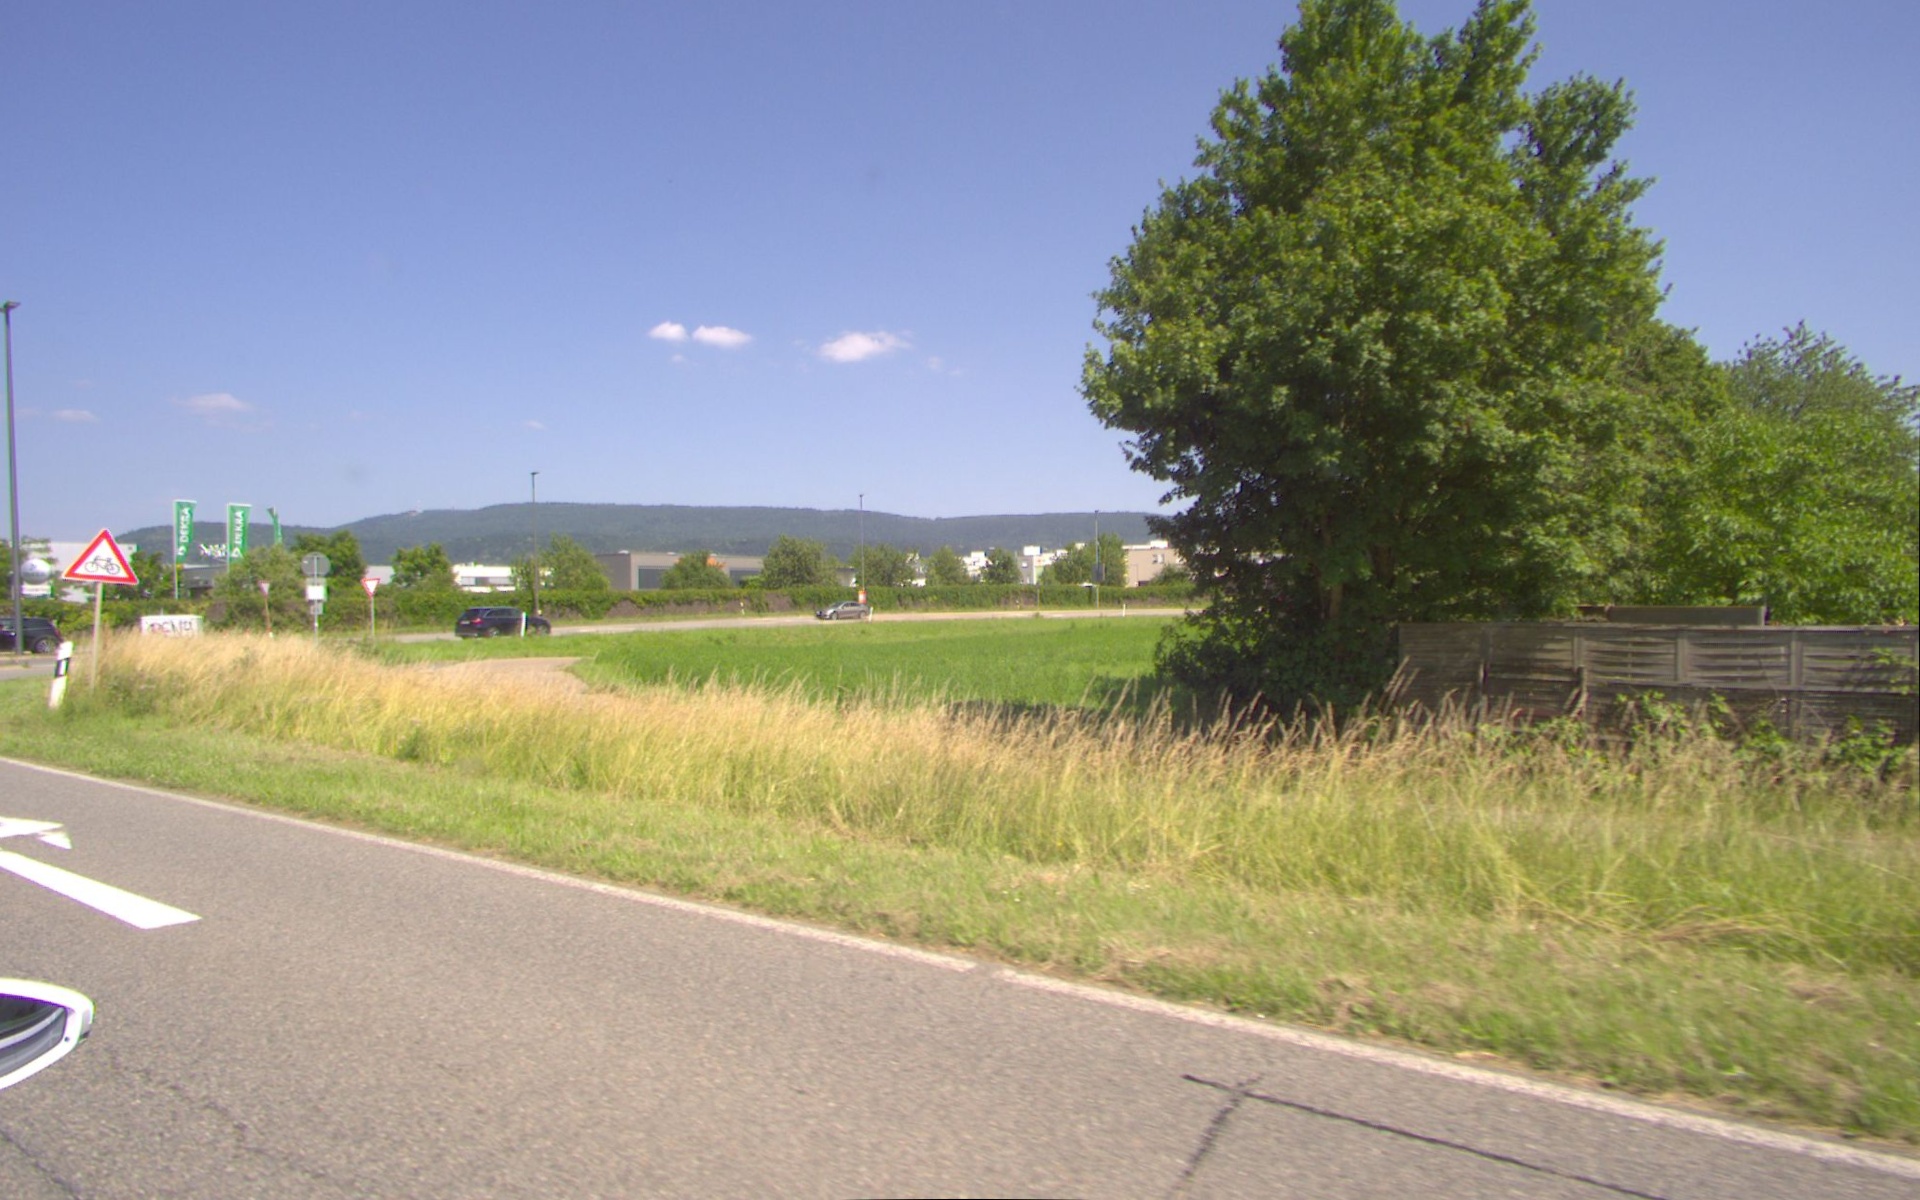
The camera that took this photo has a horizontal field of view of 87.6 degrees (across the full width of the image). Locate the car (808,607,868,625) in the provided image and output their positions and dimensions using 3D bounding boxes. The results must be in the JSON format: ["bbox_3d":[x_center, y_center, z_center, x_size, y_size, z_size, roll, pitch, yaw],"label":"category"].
[{"bbox_3d":[-9.512,1.224,78.174,4.327,1.345,1.792,-1,1,-39],"label":"car"}]

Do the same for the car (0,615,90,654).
[{"bbox_3d":[-35.562,1.335,37.710,1.785,1.344,3.969,-2,0,39],"label":"car"}]

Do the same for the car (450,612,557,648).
[{"bbox_3d":[-21.839,1.423,48.076,1.972,1.638,4.316,0,-1,33],"label":"car"}]

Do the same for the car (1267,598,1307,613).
[{"bbox_3d":[34.231,0.573,104.799,3.939,1.567,1.767,-1,1,-27],"label":"car"}]
